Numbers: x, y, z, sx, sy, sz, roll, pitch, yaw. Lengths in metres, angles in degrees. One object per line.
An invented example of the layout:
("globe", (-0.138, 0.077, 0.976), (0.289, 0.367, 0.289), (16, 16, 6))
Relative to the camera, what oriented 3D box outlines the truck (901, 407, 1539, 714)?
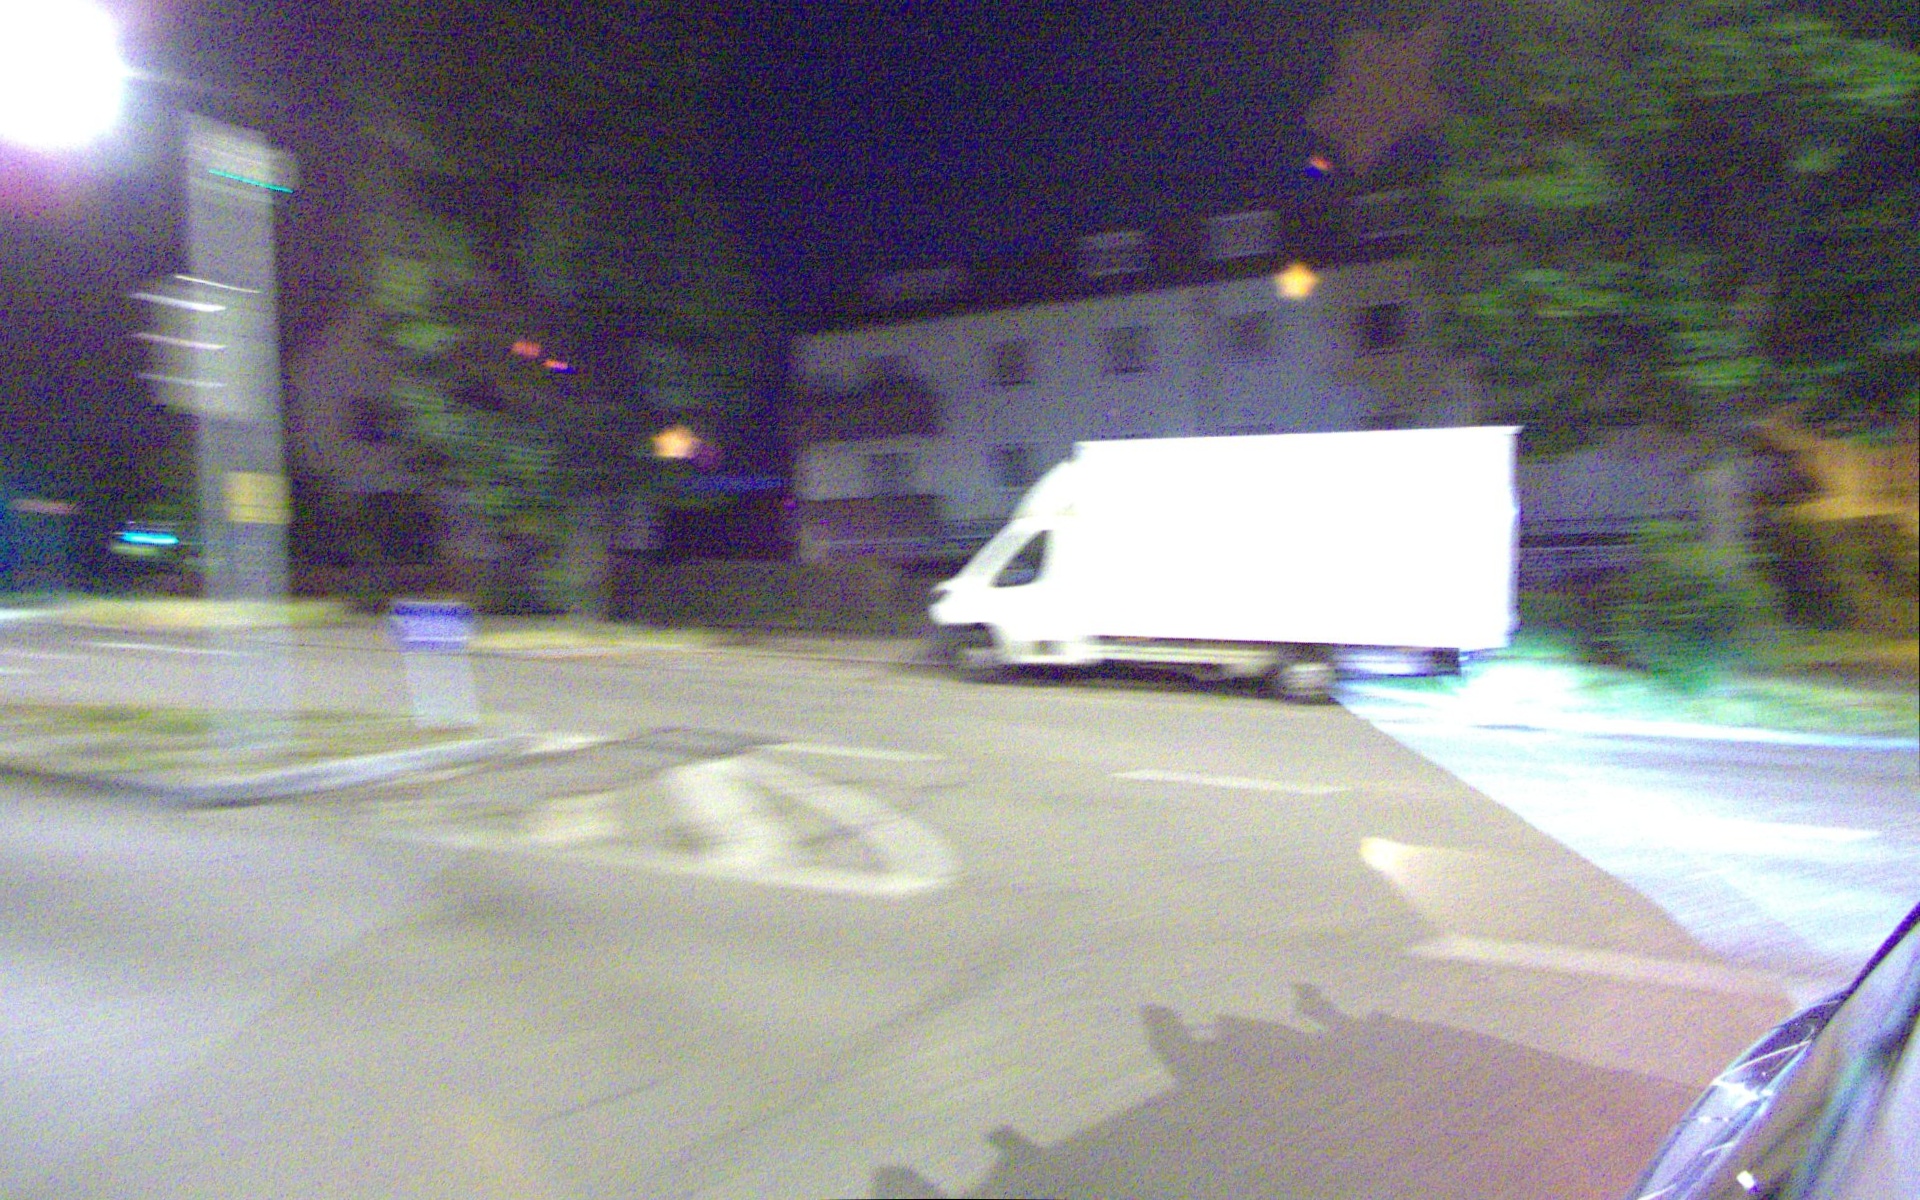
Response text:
("truck", (2.978, -0.566, 12.687), (6.951, 3.080, 2.756), (2, 4, 21))
